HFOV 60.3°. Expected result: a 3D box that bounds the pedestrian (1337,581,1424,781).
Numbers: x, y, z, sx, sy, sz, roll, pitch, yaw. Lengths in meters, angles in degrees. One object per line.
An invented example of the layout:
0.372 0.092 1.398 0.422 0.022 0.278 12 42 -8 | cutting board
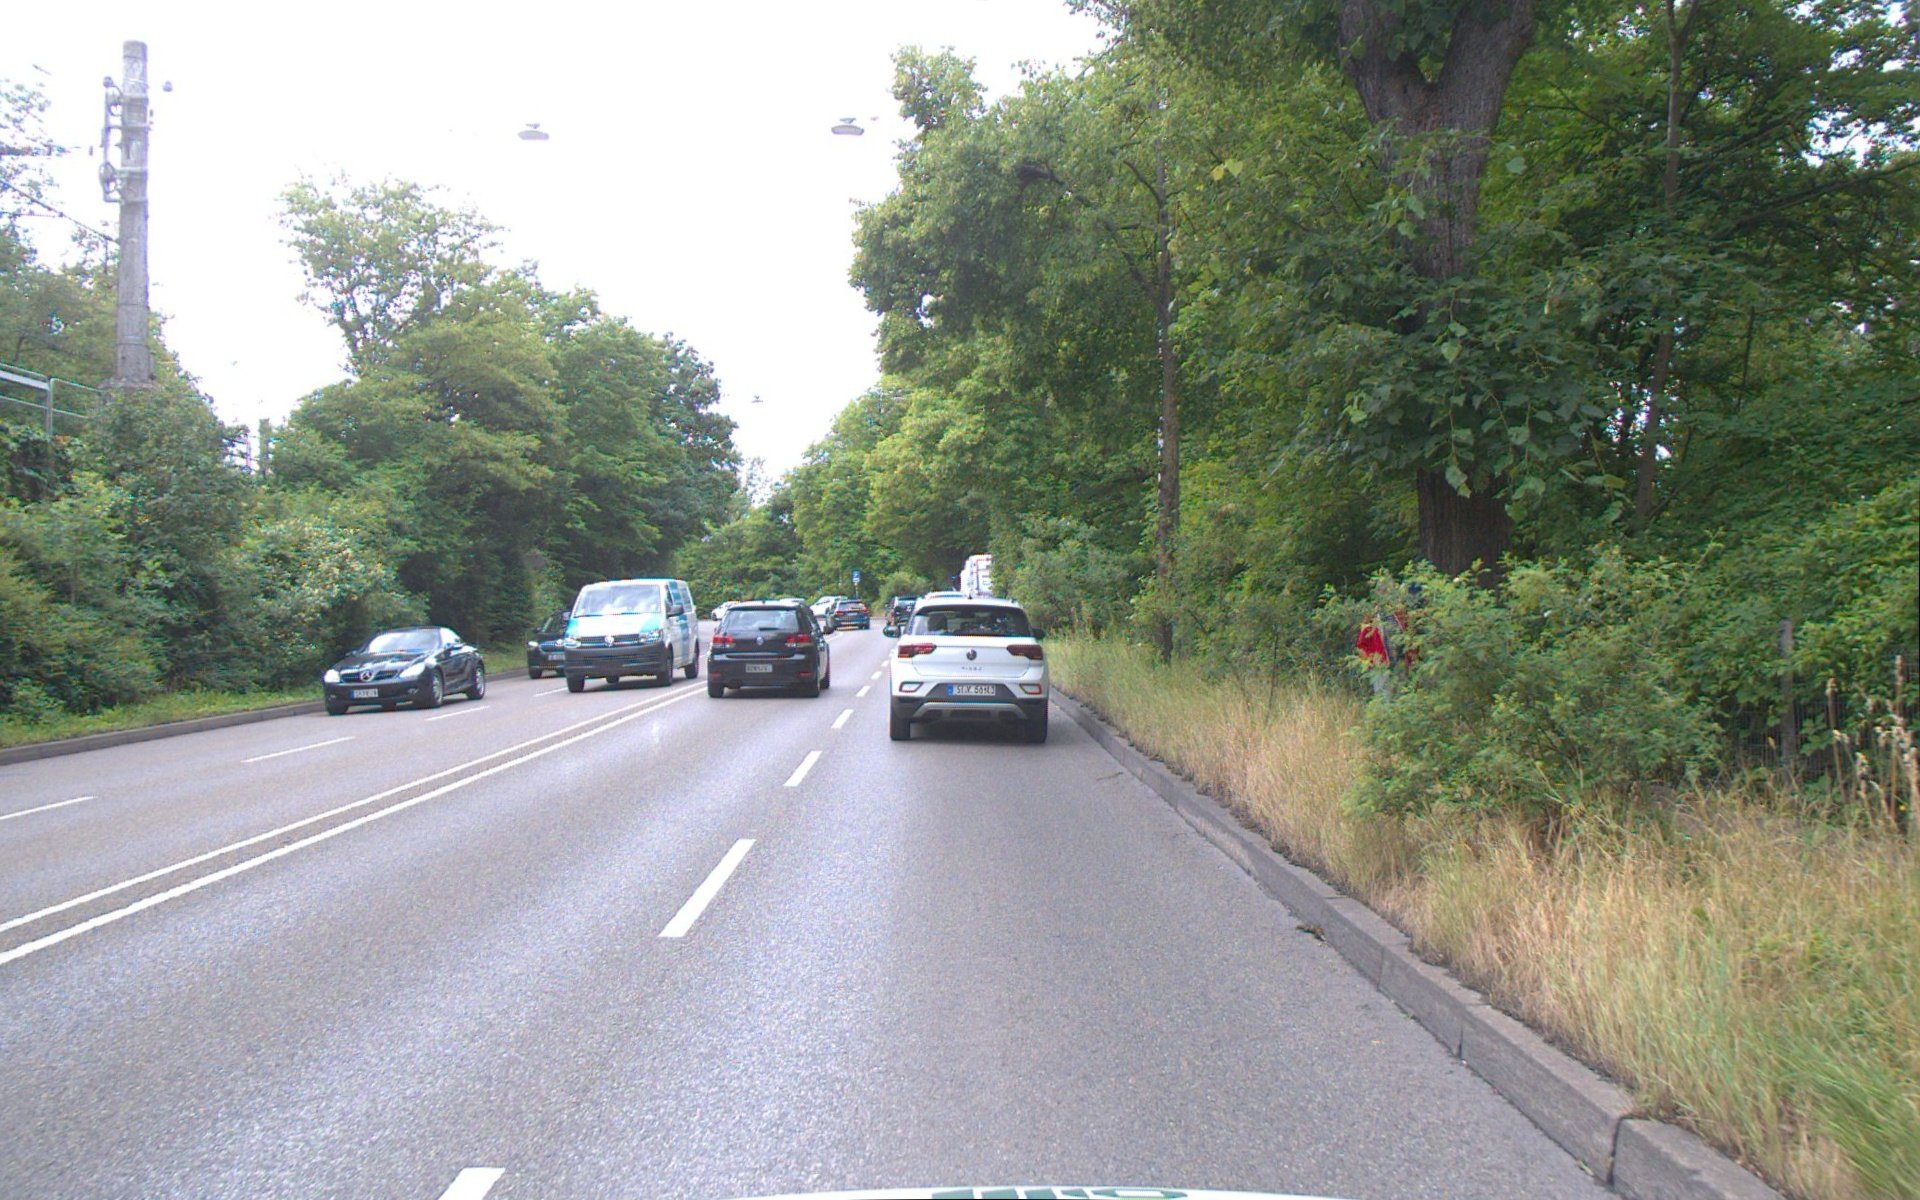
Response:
3.702 0.701 14.581 0.597 1.727 0.548 1 -1 -4 | pedestrian

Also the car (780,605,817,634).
-9.401 1.128 96.387 1.784 1.651 3.999 1 -1 -1 | car

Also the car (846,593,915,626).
-4.075 0.478 83.768 1.750 1.635 3.954 1 -1 -33 | car

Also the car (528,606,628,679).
-8.947 0.969 39.007 1.445 1.624 3.999 1 -1 0 | car

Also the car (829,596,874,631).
-5.227 0.643 80.083 1.953 1.620 3.999 1 -1 -1 | car

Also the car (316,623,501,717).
-9.005 1.104 27.360 1.731 1.333 3.999 -3 -1 -1 | car

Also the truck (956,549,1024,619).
1.406 -0.697 80.456 2.434 3.237 7.219 1 -1 -6 | truck

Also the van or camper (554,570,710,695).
-6.124 0.592 31.501 1.954 2.048 5.366 -4 0 -2 | van or camper

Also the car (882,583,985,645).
-0.857 0.421 51.291 1.826 1.732 3.973 -3 1 -22 | car

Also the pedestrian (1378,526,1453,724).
4.181 0.232 15.200 0.509 1.784 0.524 1 -1 -4 | pedestrian

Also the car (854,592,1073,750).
-0.079 0.756 19.157 1.963 1.624 3.992 1 -1 -9 | car

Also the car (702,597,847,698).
-2.903 0.724 26.669 1.910 1.492 3.999 1 -1 -1 | car
